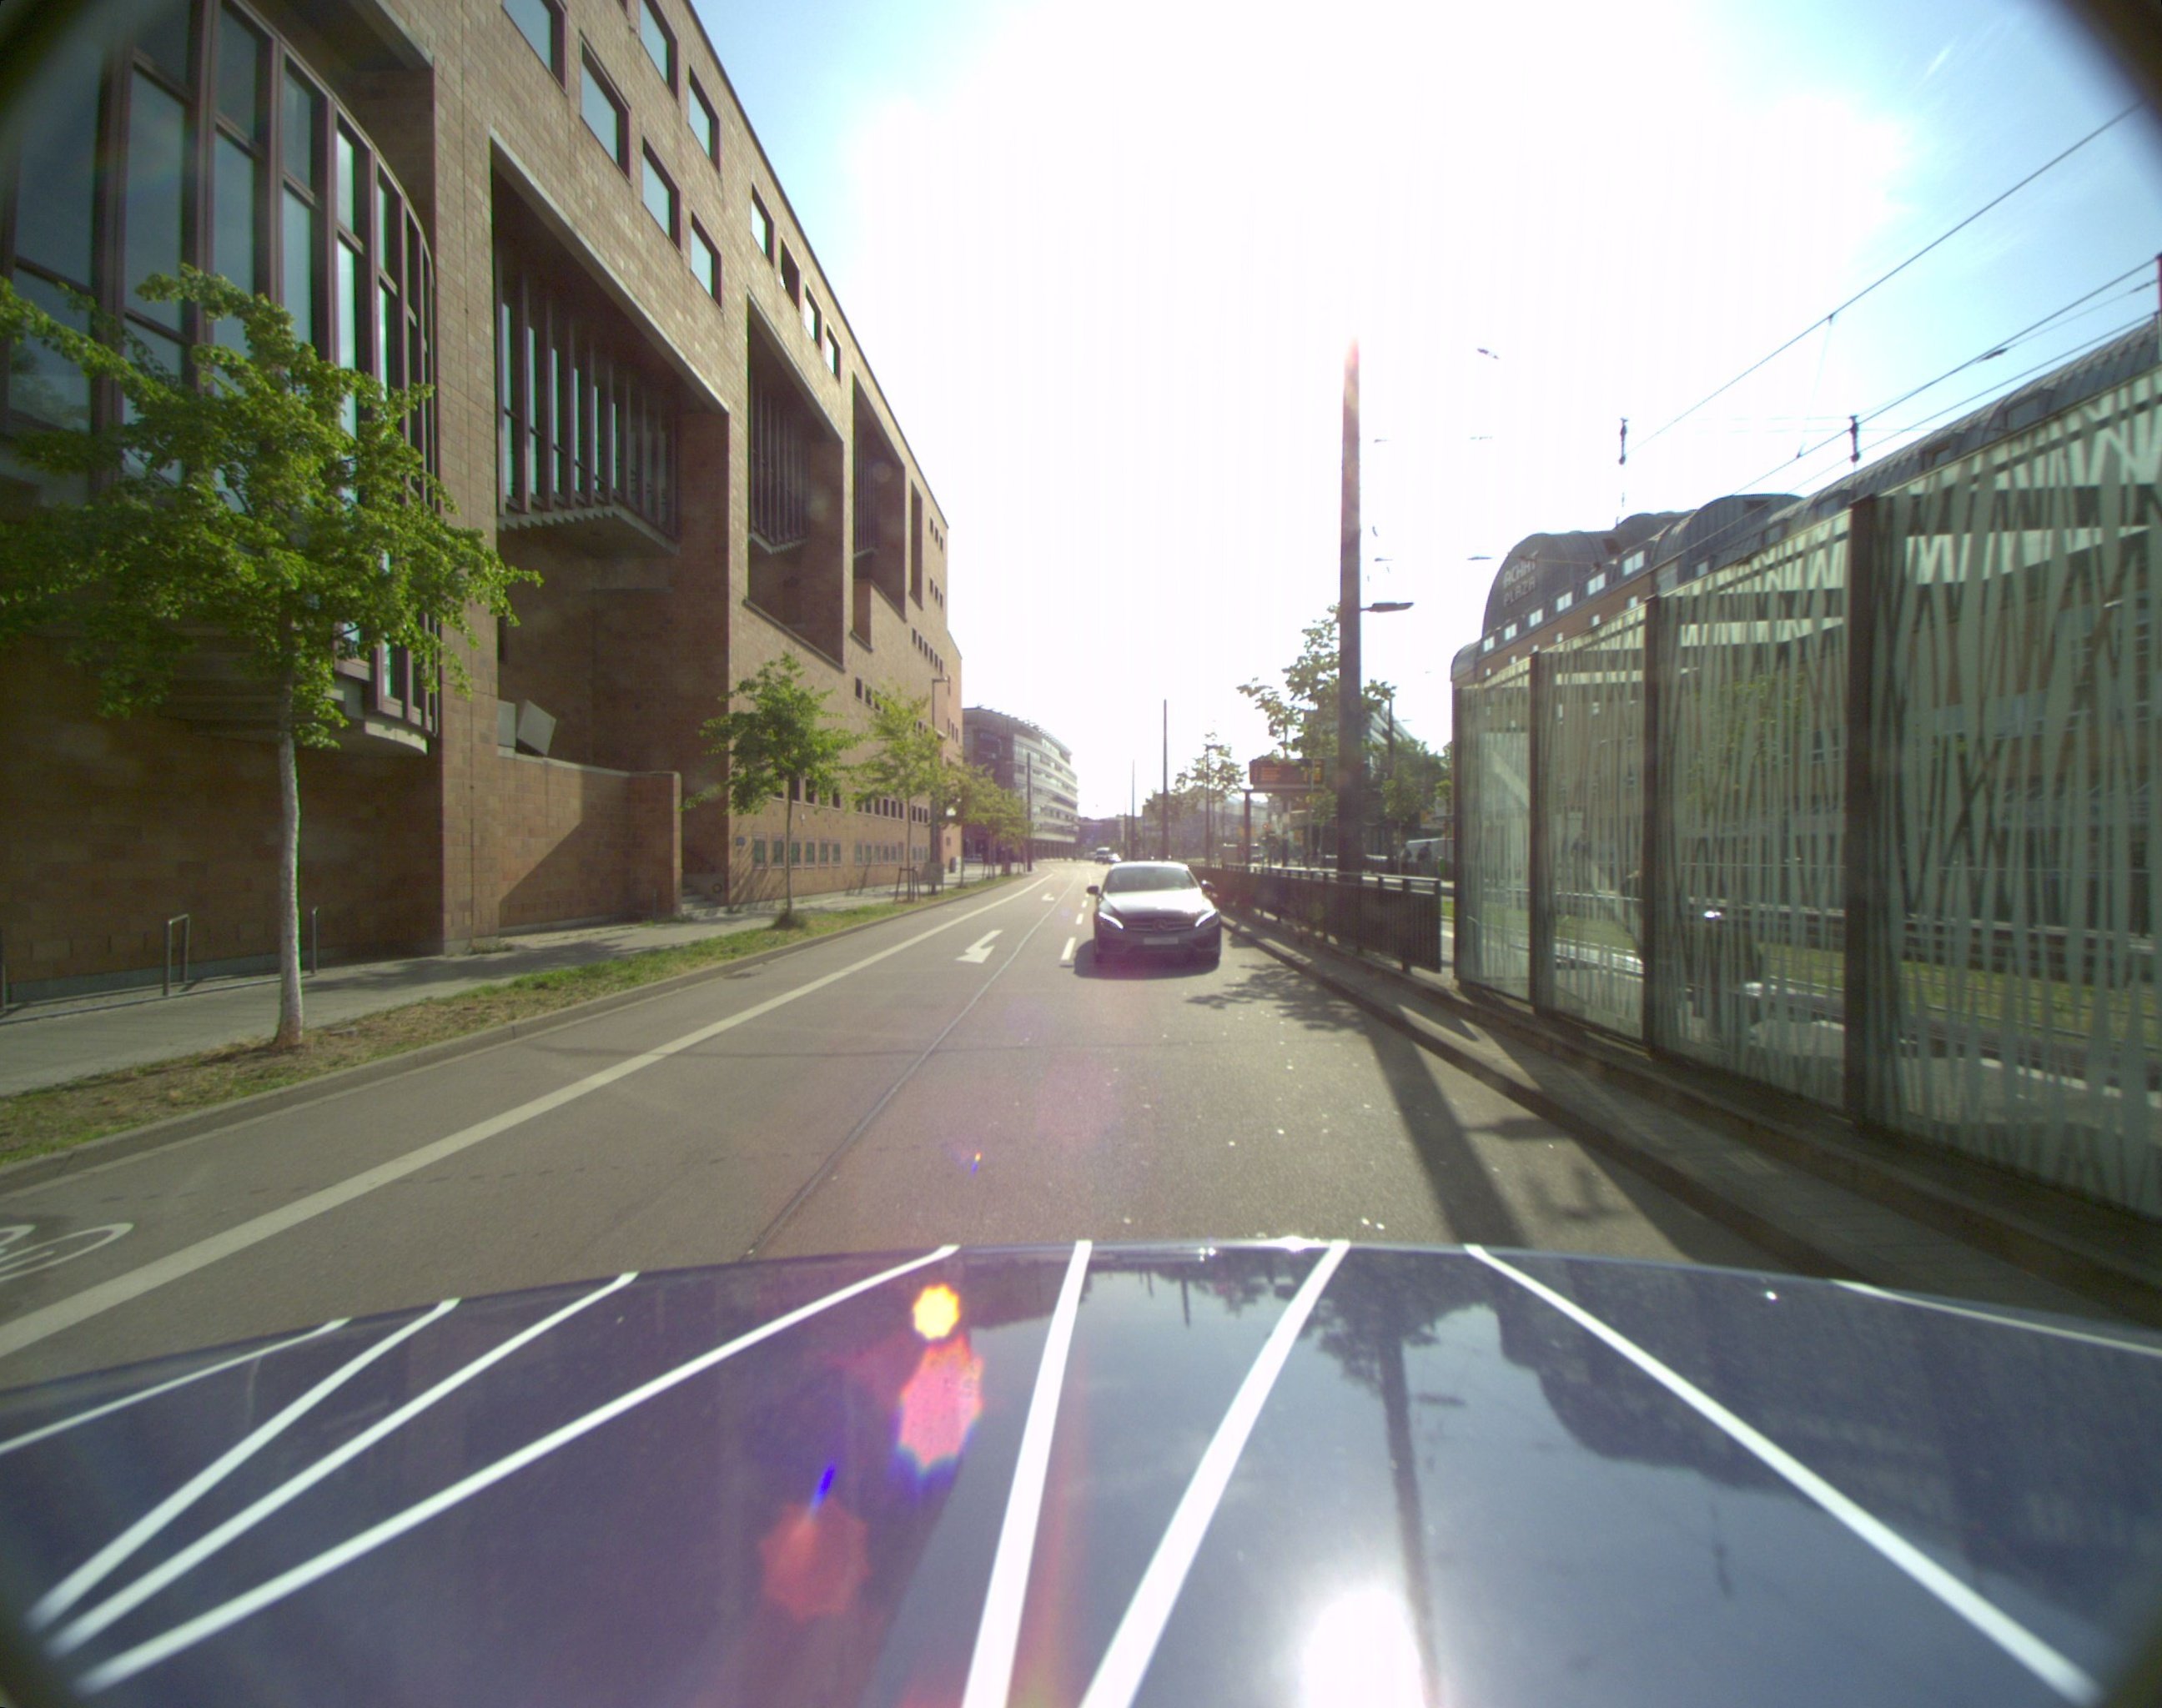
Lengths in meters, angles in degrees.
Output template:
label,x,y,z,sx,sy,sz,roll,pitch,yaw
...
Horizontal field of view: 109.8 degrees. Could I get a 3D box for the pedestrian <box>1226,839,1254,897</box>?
label,x,y,z,sx,sy,sz,roll,pitch,yaw
pedestrian,4.960,0.418,23.713,0.675,1.747,0.727,-3,1,1

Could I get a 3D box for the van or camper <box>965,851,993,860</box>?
label,x,y,z,sx,sy,sz,roll,pitch,yaw
van or camper,-15.427,0.176,115.153,3.988,1.305,1.932,0,1,-13

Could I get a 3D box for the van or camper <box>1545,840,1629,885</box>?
label,x,y,z,sx,sy,sz,roll,pitch,yaw
van or camper,32.744,0.490,49.401,1.998,2.786,5.353,0,1,2

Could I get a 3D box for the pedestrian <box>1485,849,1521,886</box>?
label,x,y,z,sx,sy,sz,roll,pitch,yaw
pedestrian,15.400,0.489,27.739,0.871,1.306,0.808,0,1,-1

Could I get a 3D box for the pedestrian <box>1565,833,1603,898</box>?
label,x,y,z,sx,sy,sz,roll,pitch,yaw
pedestrian,14.672,0.320,22.189,0.805,1.875,0.555,0,1,21

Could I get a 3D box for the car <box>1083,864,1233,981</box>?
label,x,y,z,sx,sy,sz,roll,pitch,yaw
car,1.060,0.918,11.962,1.906,1.384,4.236,-1,1,2

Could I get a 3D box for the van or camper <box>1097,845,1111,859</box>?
label,x,y,z,sx,sy,sz,roll,pitch,yaw
van or camper,3.749,-0.373,125.301,1.932,2.198,3.988,0,1,7

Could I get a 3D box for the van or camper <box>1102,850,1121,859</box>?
label,x,y,z,sx,sy,sz,roll,pitch,yaw
van or camper,4.546,0.057,115.118,1.936,1.305,3.981,0,0,-12

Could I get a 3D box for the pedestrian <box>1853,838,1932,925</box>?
label,x,y,z,sx,sy,sz,roll,pitch,yaw
pedestrian,14.654,0.477,13.729,0.679,1.522,0.810,-1,1,-29

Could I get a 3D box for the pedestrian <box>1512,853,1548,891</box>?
label,x,y,z,sx,sy,sz,roll,pitch,yaw
pedestrian,15.232,0.607,25.789,0.793,1.238,0.675,1,1,1

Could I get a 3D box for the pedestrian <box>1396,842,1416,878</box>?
label,x,y,z,sx,sy,sz,roll,pitch,yaw
pedestrian,16.166,0.278,37.839,0.652,1.750,0.698,-3,1,3

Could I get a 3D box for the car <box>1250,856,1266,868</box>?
label,x,y,z,sx,sy,sz,roll,pitch,yaw
car,29.896,1.355,128.608,1.998,2.002,4.001,0,1,4

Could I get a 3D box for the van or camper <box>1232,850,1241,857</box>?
label,x,y,z,sx,sy,sz,roll,pitch,yaw
van or camper,36.764,-0.128,179.875,1.842,1.543,4.004,0,1,14

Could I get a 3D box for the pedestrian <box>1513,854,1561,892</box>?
label,x,y,z,sx,sy,sz,roll,pitch,yaw
pedestrian,15.023,0.614,25.058,1.156,1.238,0.675,1,1,1

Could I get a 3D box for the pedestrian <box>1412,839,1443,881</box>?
label,x,y,z,sx,sy,sz,roll,pitch,yaw
pedestrian,14.736,0.261,32.325,0.786,1.736,0.833,1,1,-35

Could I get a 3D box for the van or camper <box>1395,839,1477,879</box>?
label,x,y,z,sx,sy,sz,roll,pitch,yaw
van or camper,19.186,0.236,41.367,2.087,2.002,5.341,1,0,2

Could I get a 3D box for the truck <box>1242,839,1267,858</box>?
label,x,y,z,sx,sy,sz,roll,pitch,yaw
truck,35.007,-1.058,153.588,3.167,3.755,12.363,0,0,5
